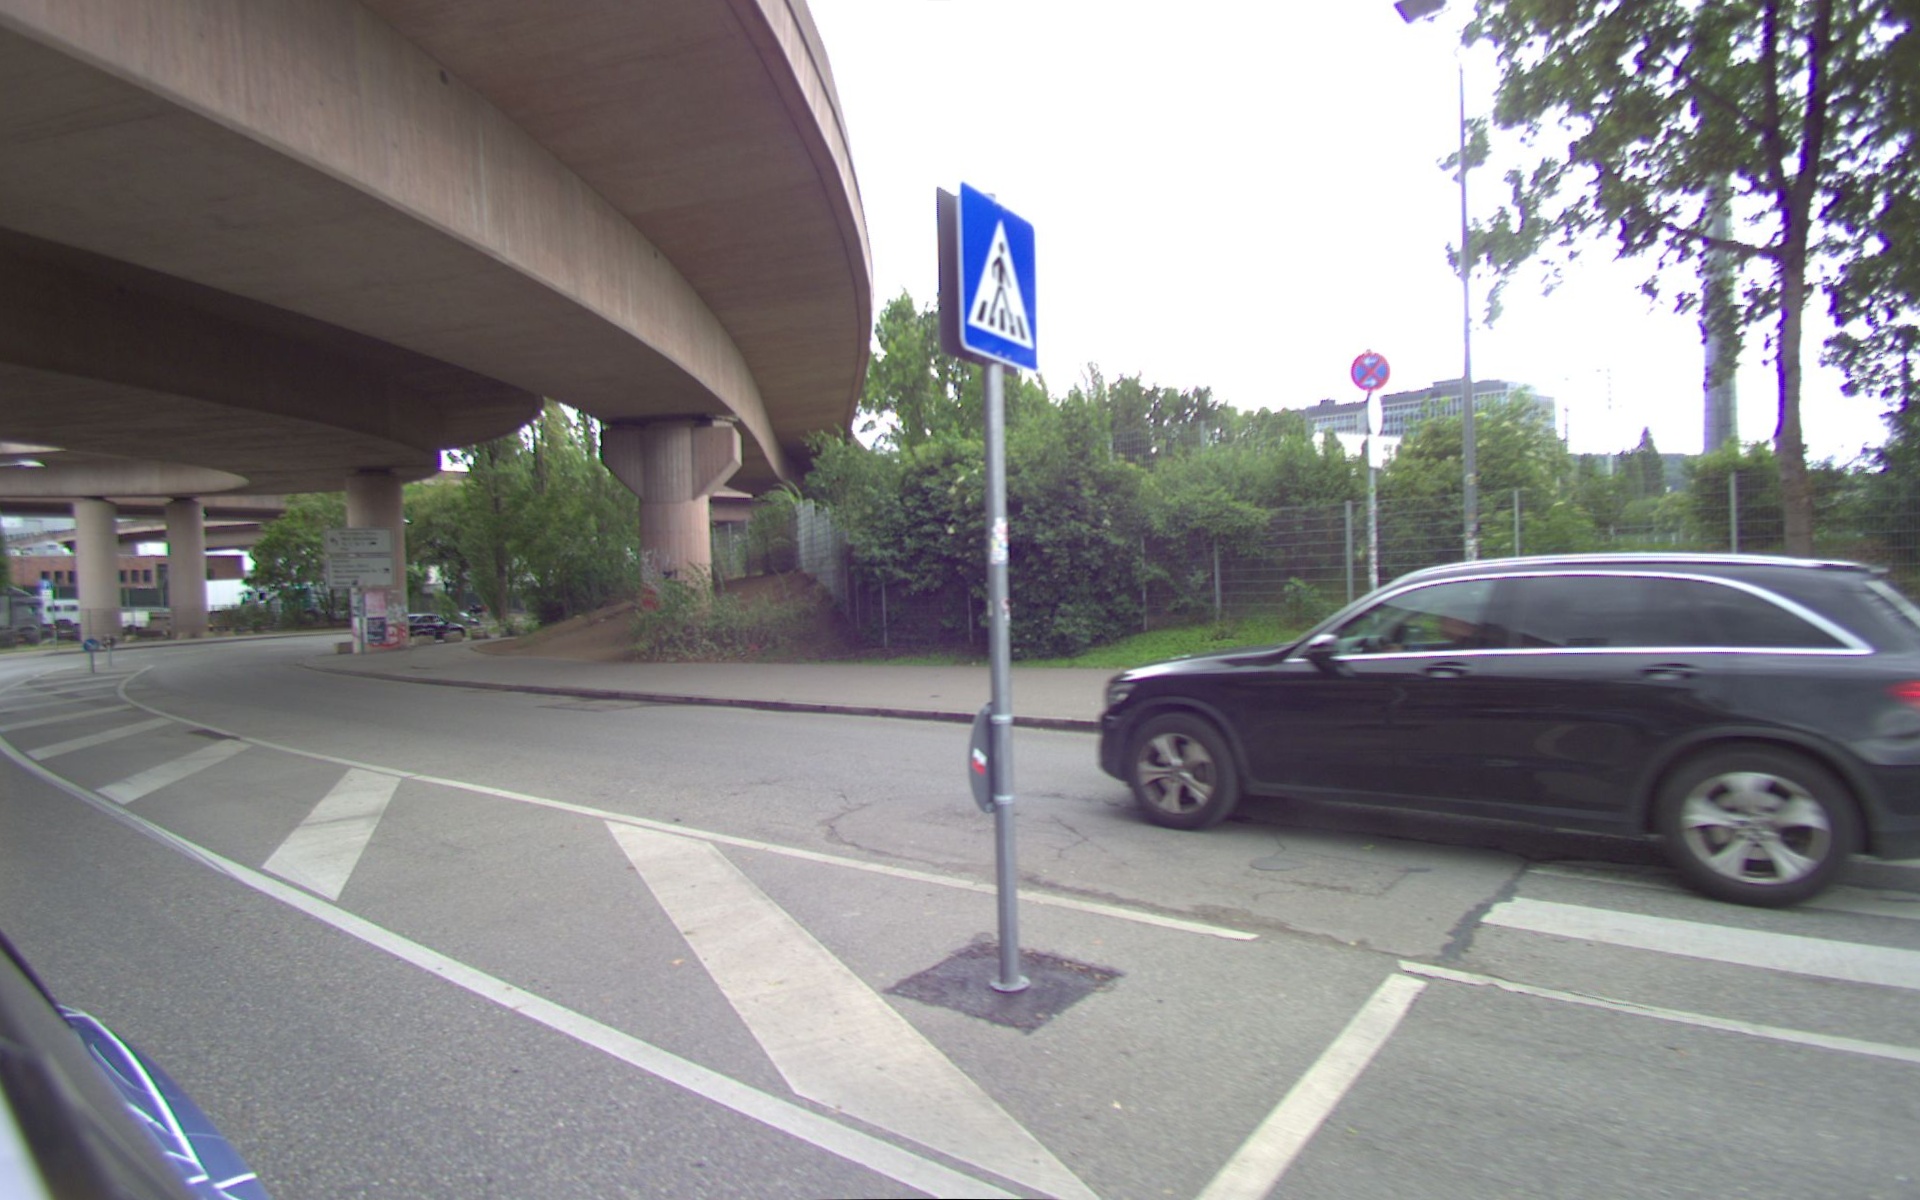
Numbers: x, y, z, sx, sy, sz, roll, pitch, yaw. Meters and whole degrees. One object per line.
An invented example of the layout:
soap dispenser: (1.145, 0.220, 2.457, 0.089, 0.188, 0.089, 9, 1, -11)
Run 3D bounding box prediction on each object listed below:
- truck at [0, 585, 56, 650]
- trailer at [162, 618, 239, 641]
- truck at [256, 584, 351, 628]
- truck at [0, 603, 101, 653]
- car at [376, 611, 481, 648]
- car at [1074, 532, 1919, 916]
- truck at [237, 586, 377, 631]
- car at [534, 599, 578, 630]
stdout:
truck: (-68.148, 1.335, 68.254, 3.904, 4.399, 10.016, -3, 0, 35)
trailer: (-52.189, 2.015, 69.608, 1.587, 1.341, 4.370, -1, 1, 9)
truck: (-55.073, 0.448, 85.018, 2.268, 3.434, 6.330, 0, 1, 38)
truck: (-55.109, 1.613, 60.622, 2.385, 2.764, 7.253, -2, 0, -12)
car: (-25.169, 1.371, 48.144, 1.809, 1.441, 4.757, -4, 0, 11)
car: (3.111, 0.530, 5.911, 4.540, 1.586, 1.823, -2, 0, 36)
truck: (-56.651, 0.664, 88.154, 2.266, 3.524, 10.093, 0, 1, 36)
car: (-26.781, 0.929, 66.941, 1.826, 1.931, 4.988, -2, 1, -32)
